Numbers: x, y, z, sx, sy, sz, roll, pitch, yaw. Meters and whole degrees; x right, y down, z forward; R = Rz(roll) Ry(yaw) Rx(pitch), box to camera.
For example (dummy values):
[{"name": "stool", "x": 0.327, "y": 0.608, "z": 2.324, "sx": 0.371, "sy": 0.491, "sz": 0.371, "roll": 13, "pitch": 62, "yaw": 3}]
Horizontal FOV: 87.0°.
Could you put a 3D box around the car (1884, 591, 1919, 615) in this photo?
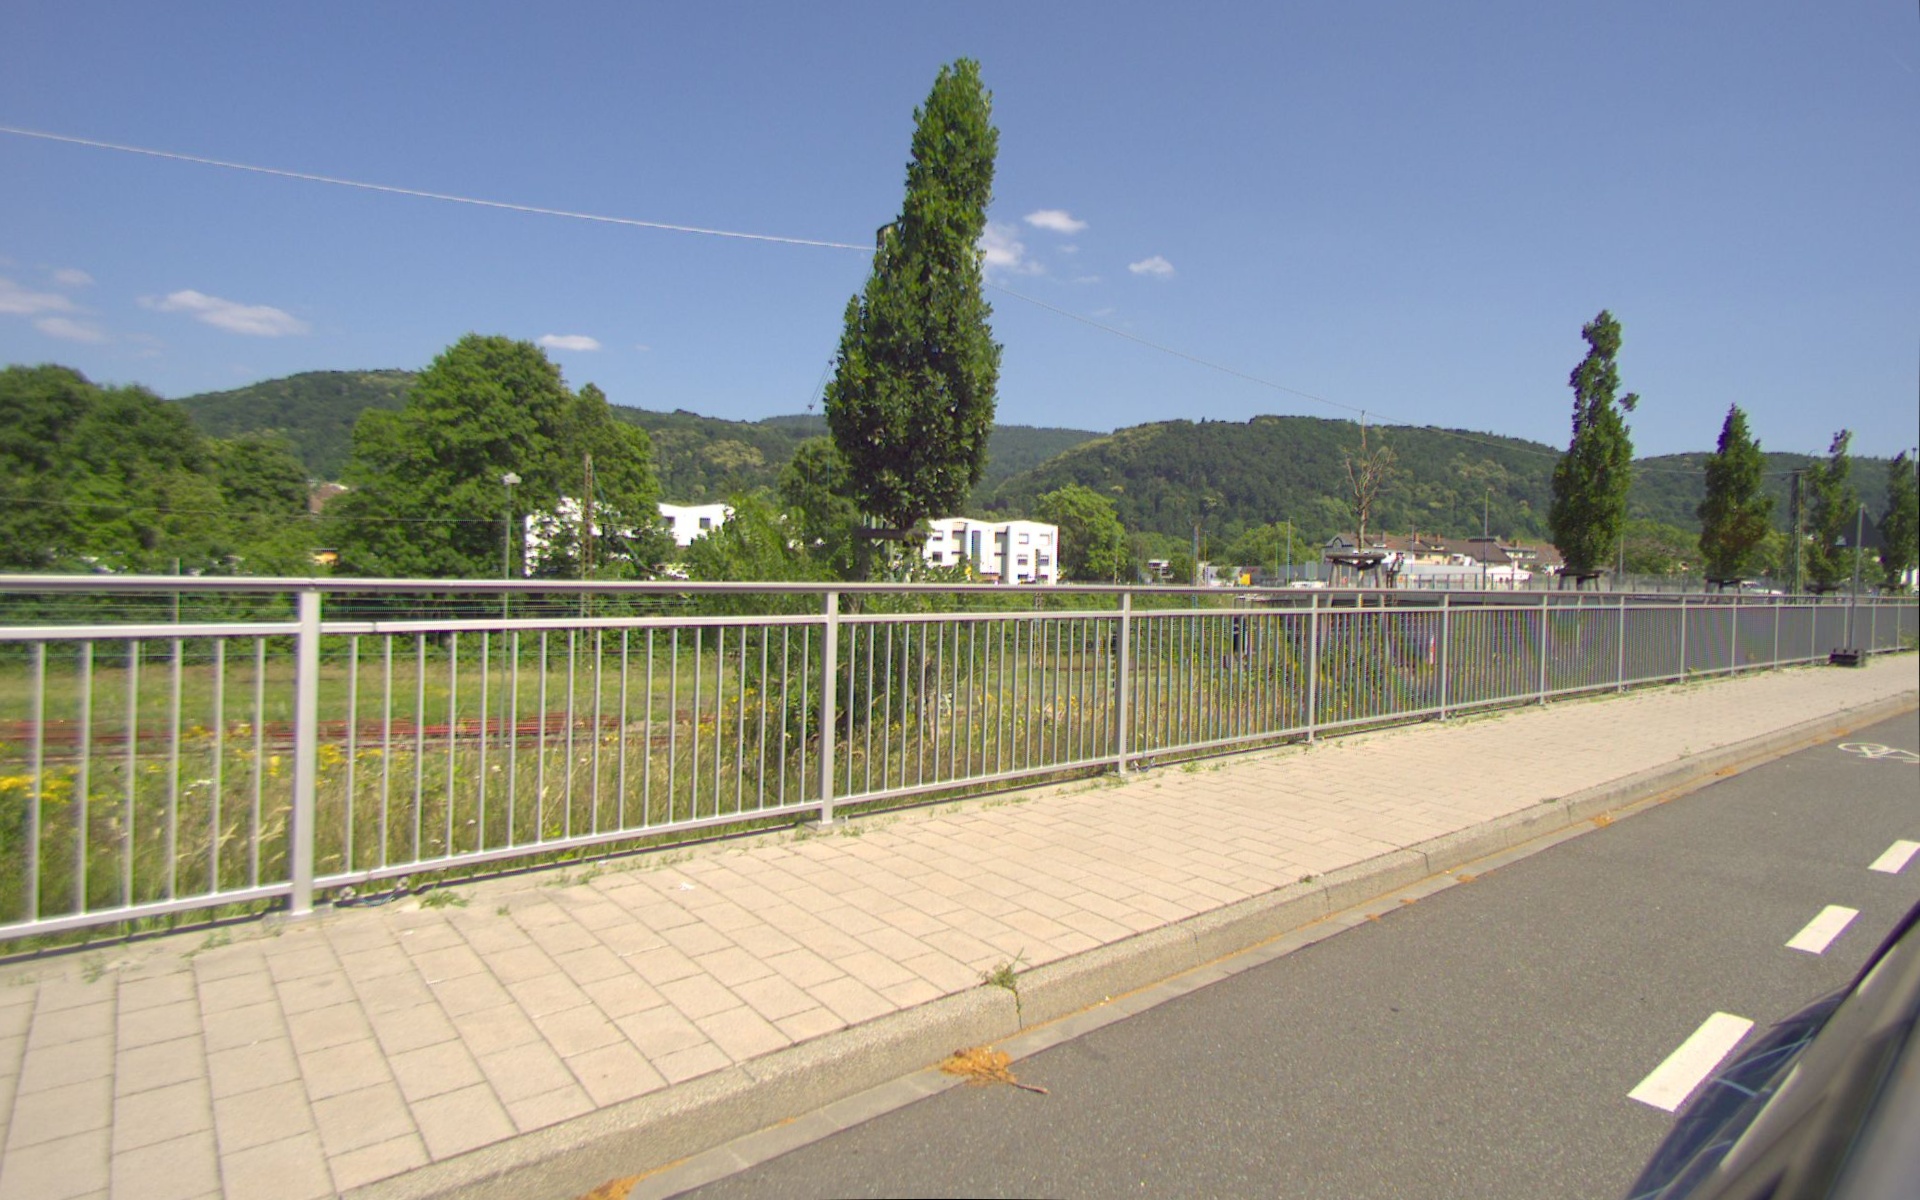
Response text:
[{"name": "car", "x": 64.144, "y": 0.206, "z": 66.808, "sx": 1.794, "sy": 1.509, "sz": 4.379, "roll": -2, "pitch": 2, "yaw": -11}]

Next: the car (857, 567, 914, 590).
[{"name": "car", "x": -7.786, "y": -2.266, "z": 105.823, "sx": 5.407, "sy": 2.130, "sz": 2.137, "roll": -1, "pitch": -3, "yaw": -28}]

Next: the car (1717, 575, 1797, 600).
[{"name": "car", "x": 58.560, "y": -0.960, "z": 74.447, "sx": 1.794, "sy": 1.672, "sz": 4.589, "roll": -2, "pitch": 2, "yaw": -8}]
